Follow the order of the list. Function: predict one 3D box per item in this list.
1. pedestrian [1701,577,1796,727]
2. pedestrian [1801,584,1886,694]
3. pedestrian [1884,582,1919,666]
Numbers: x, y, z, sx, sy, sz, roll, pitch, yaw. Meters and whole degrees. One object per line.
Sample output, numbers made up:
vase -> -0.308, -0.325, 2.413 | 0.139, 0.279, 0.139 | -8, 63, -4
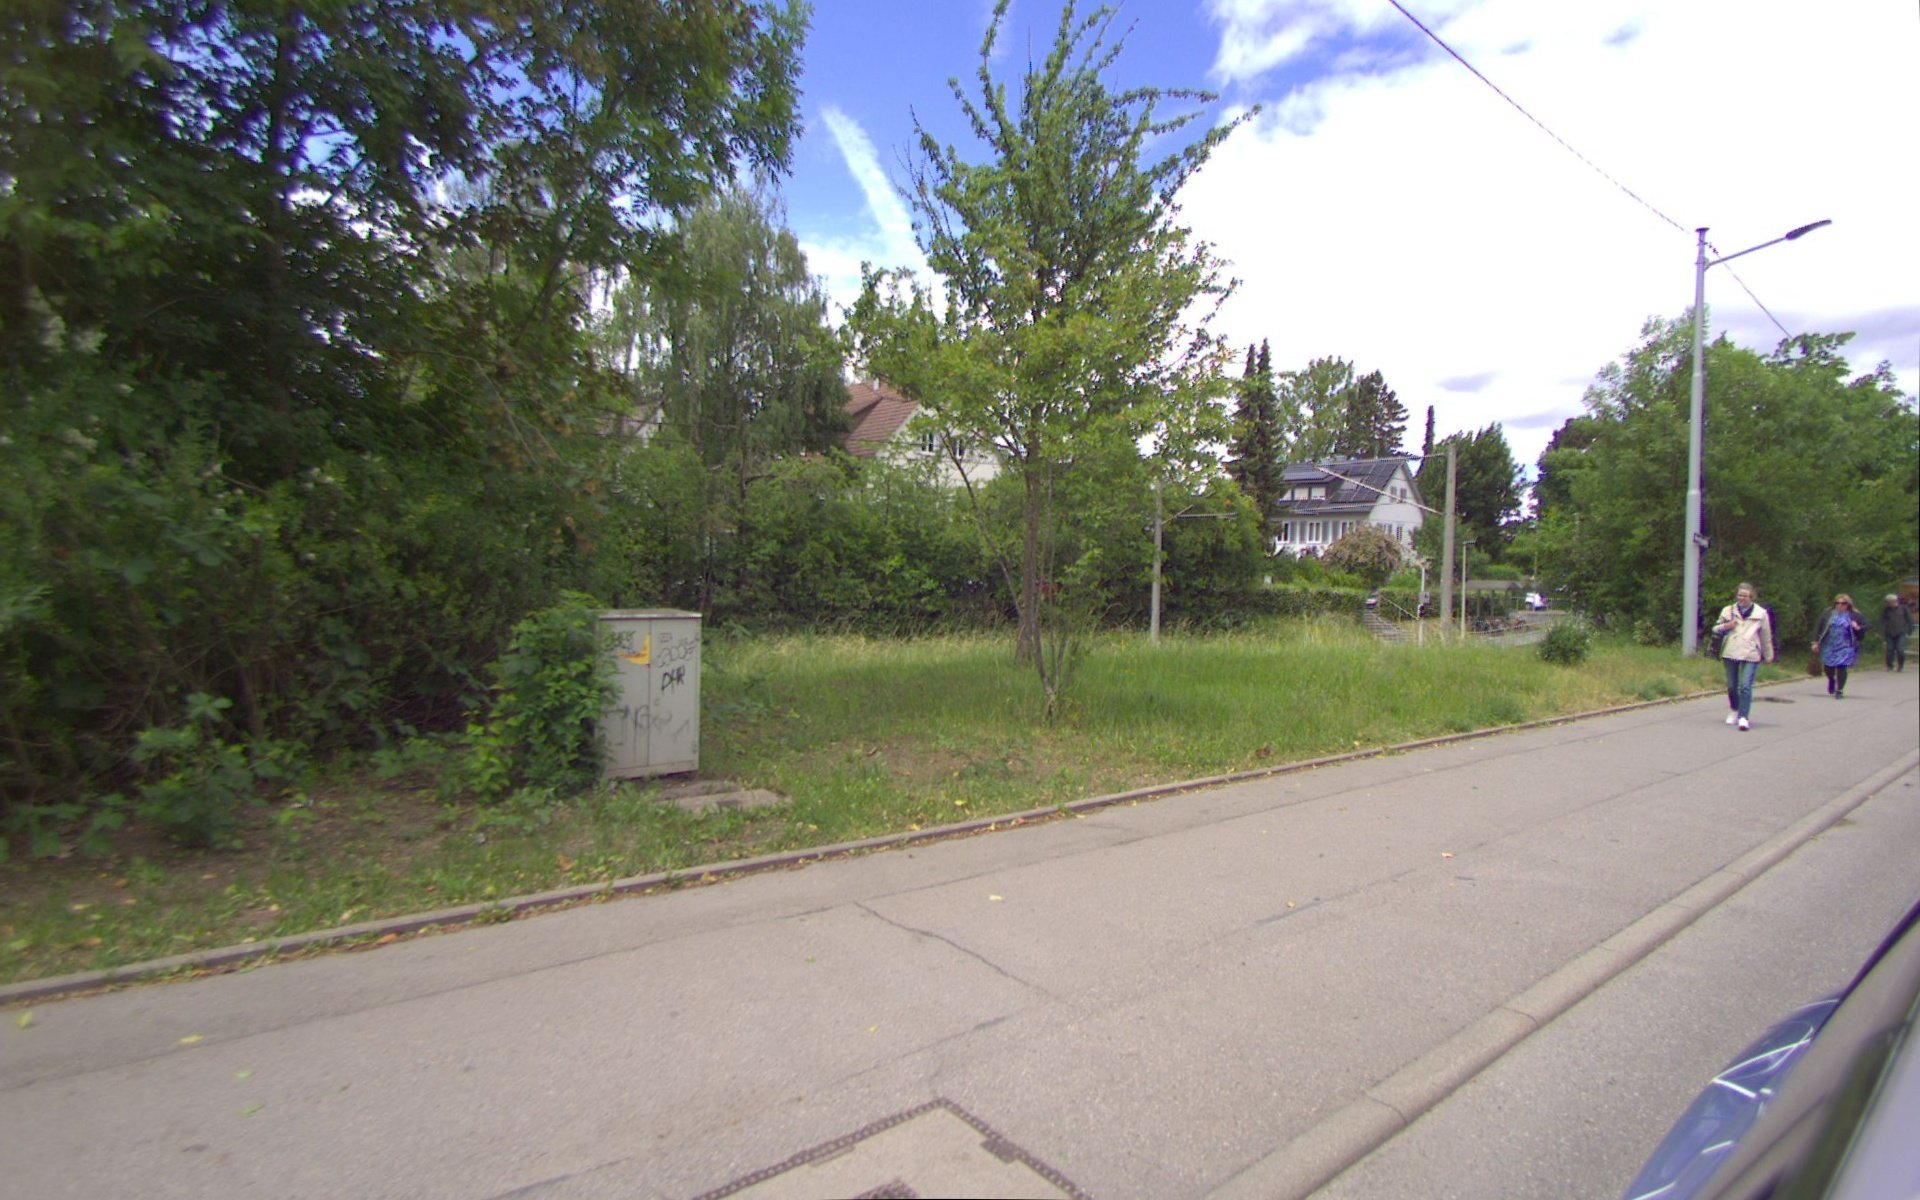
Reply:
pedestrian -> 9.214, 0.583, 11.830 | 0.677, 1.680, 0.688 | 1, 0, -35
pedestrian -> 13.997, 0.600, 16.040 | 0.751, 1.680, 0.842 | 1, 0, -35
pedestrian -> 22.046, 0.551, 23.457 | 0.785, 1.906, 0.748 | 1, 0, -33
